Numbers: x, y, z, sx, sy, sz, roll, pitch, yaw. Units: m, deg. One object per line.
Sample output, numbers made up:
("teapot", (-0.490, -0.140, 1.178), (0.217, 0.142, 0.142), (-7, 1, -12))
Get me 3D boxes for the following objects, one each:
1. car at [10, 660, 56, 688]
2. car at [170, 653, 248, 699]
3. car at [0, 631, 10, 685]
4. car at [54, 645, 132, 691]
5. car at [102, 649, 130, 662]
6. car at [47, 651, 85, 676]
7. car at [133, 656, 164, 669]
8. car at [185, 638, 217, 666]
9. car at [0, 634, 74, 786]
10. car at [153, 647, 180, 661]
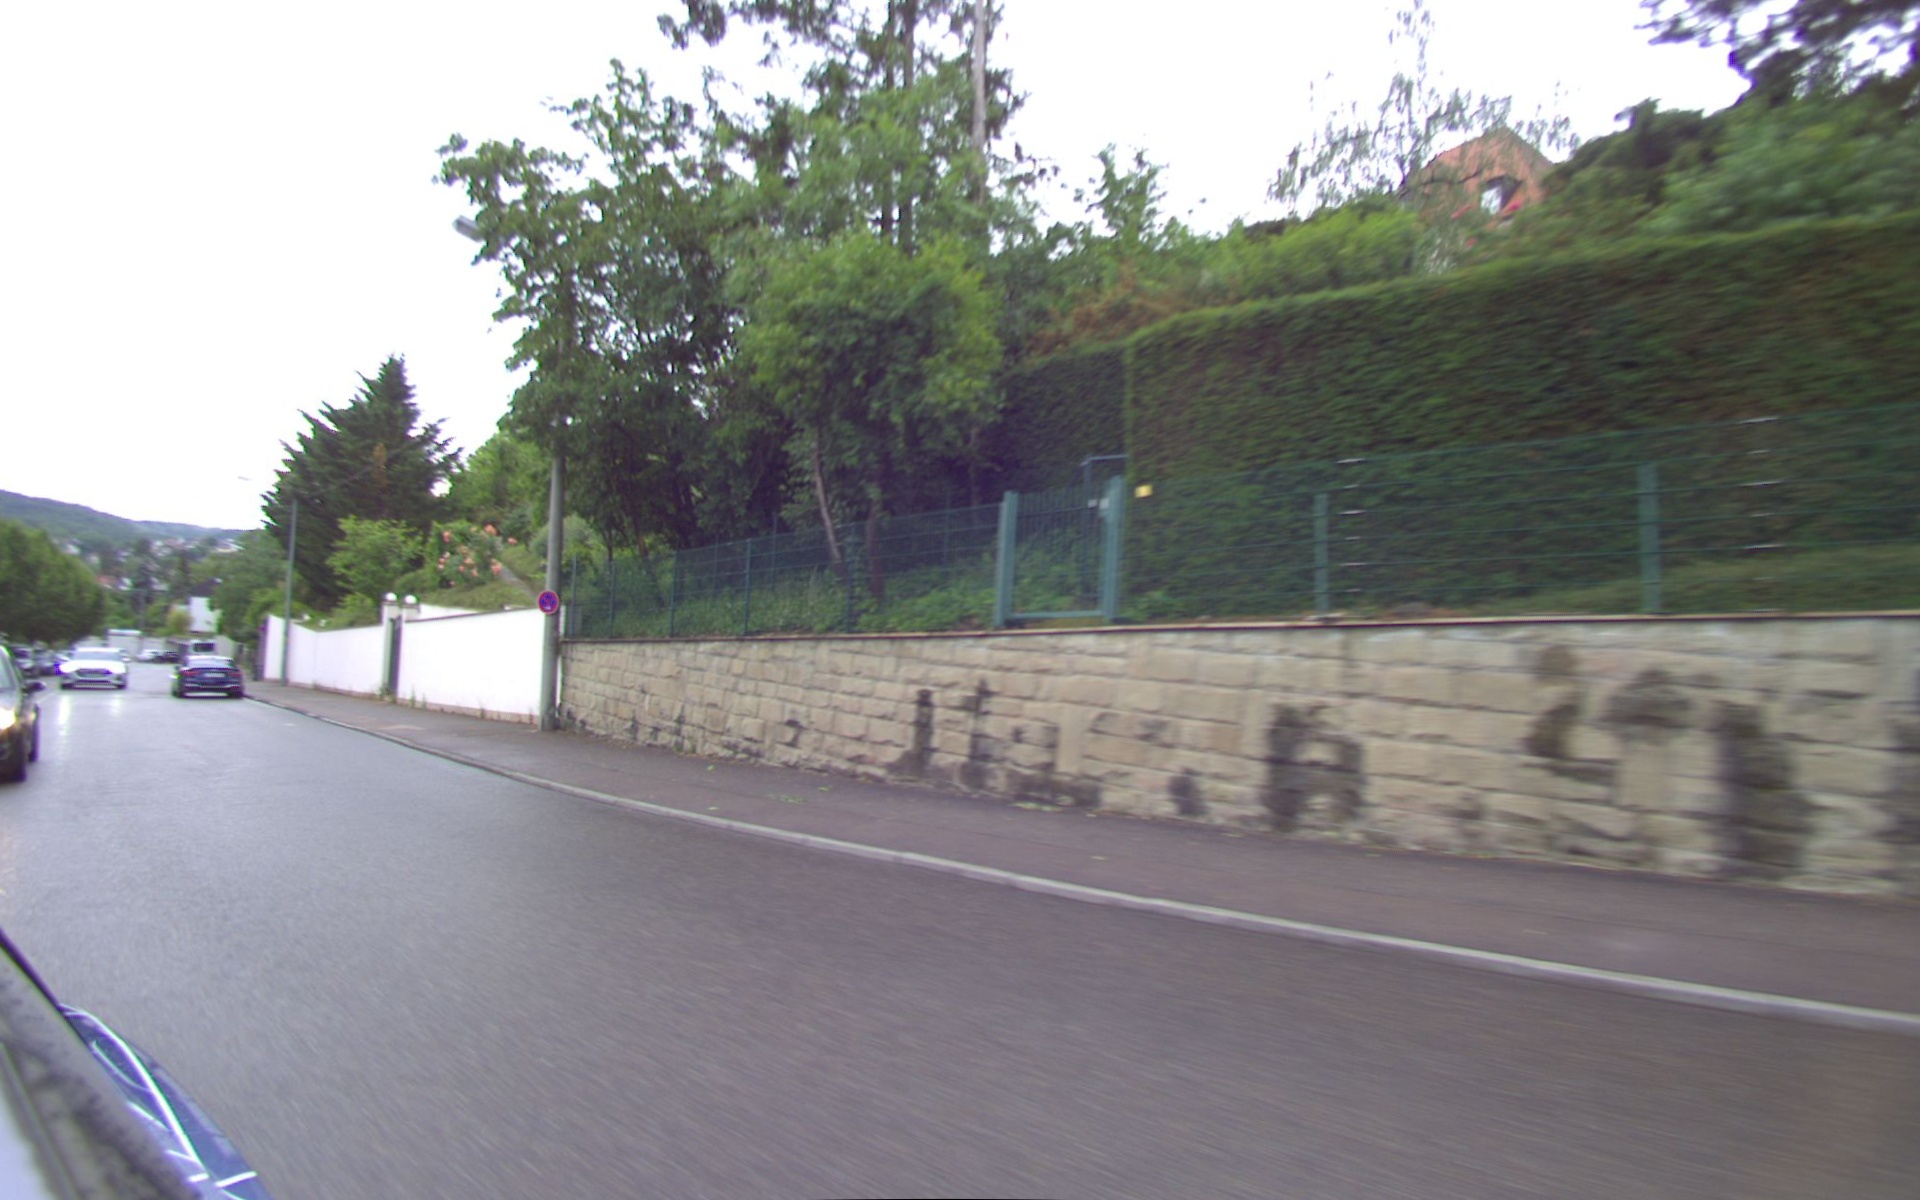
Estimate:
("car", (-54.490, 4.320, 59.530), (1.698, 1.515, 4.208), (0, -3, -38))
("car", (-25.591, 2.569, 34.427), (1.785, 1.441, 4.260), (5, -6, -40))
("car", (-40.101, 2.404, 41.207), (1.698, 2.155, 4.411), (0, -3, -38))
("car", (-34.394, 2.667, 40.283), (2.157, 1.721, 4.891), (3, -4, -39))
("car", (-102.883, 6.752, 123.375), (3.762, 1.509, 1.828), (-2, -4, 38))
("car", (-60.436, 4.289, 68.464), (1.698, 1.641, 4.411), (0, -3, -38))
("car", (-92.808, 7.139, 115.710), (3.762, 1.509, 1.828), (-2, -5, 38))
("car", (-69.424, 4.783, 92.607), (2.076, 2.502, 4.575), (4, -5, -35))
("car", (-11.326, 1.154, 11.350), (1.756, 1.497, 4.414), (4, -5, -38))
("car", (-87.243, 5.909, 111.280), (3.769, 1.509, 1.825), (-3, -4, 44))
